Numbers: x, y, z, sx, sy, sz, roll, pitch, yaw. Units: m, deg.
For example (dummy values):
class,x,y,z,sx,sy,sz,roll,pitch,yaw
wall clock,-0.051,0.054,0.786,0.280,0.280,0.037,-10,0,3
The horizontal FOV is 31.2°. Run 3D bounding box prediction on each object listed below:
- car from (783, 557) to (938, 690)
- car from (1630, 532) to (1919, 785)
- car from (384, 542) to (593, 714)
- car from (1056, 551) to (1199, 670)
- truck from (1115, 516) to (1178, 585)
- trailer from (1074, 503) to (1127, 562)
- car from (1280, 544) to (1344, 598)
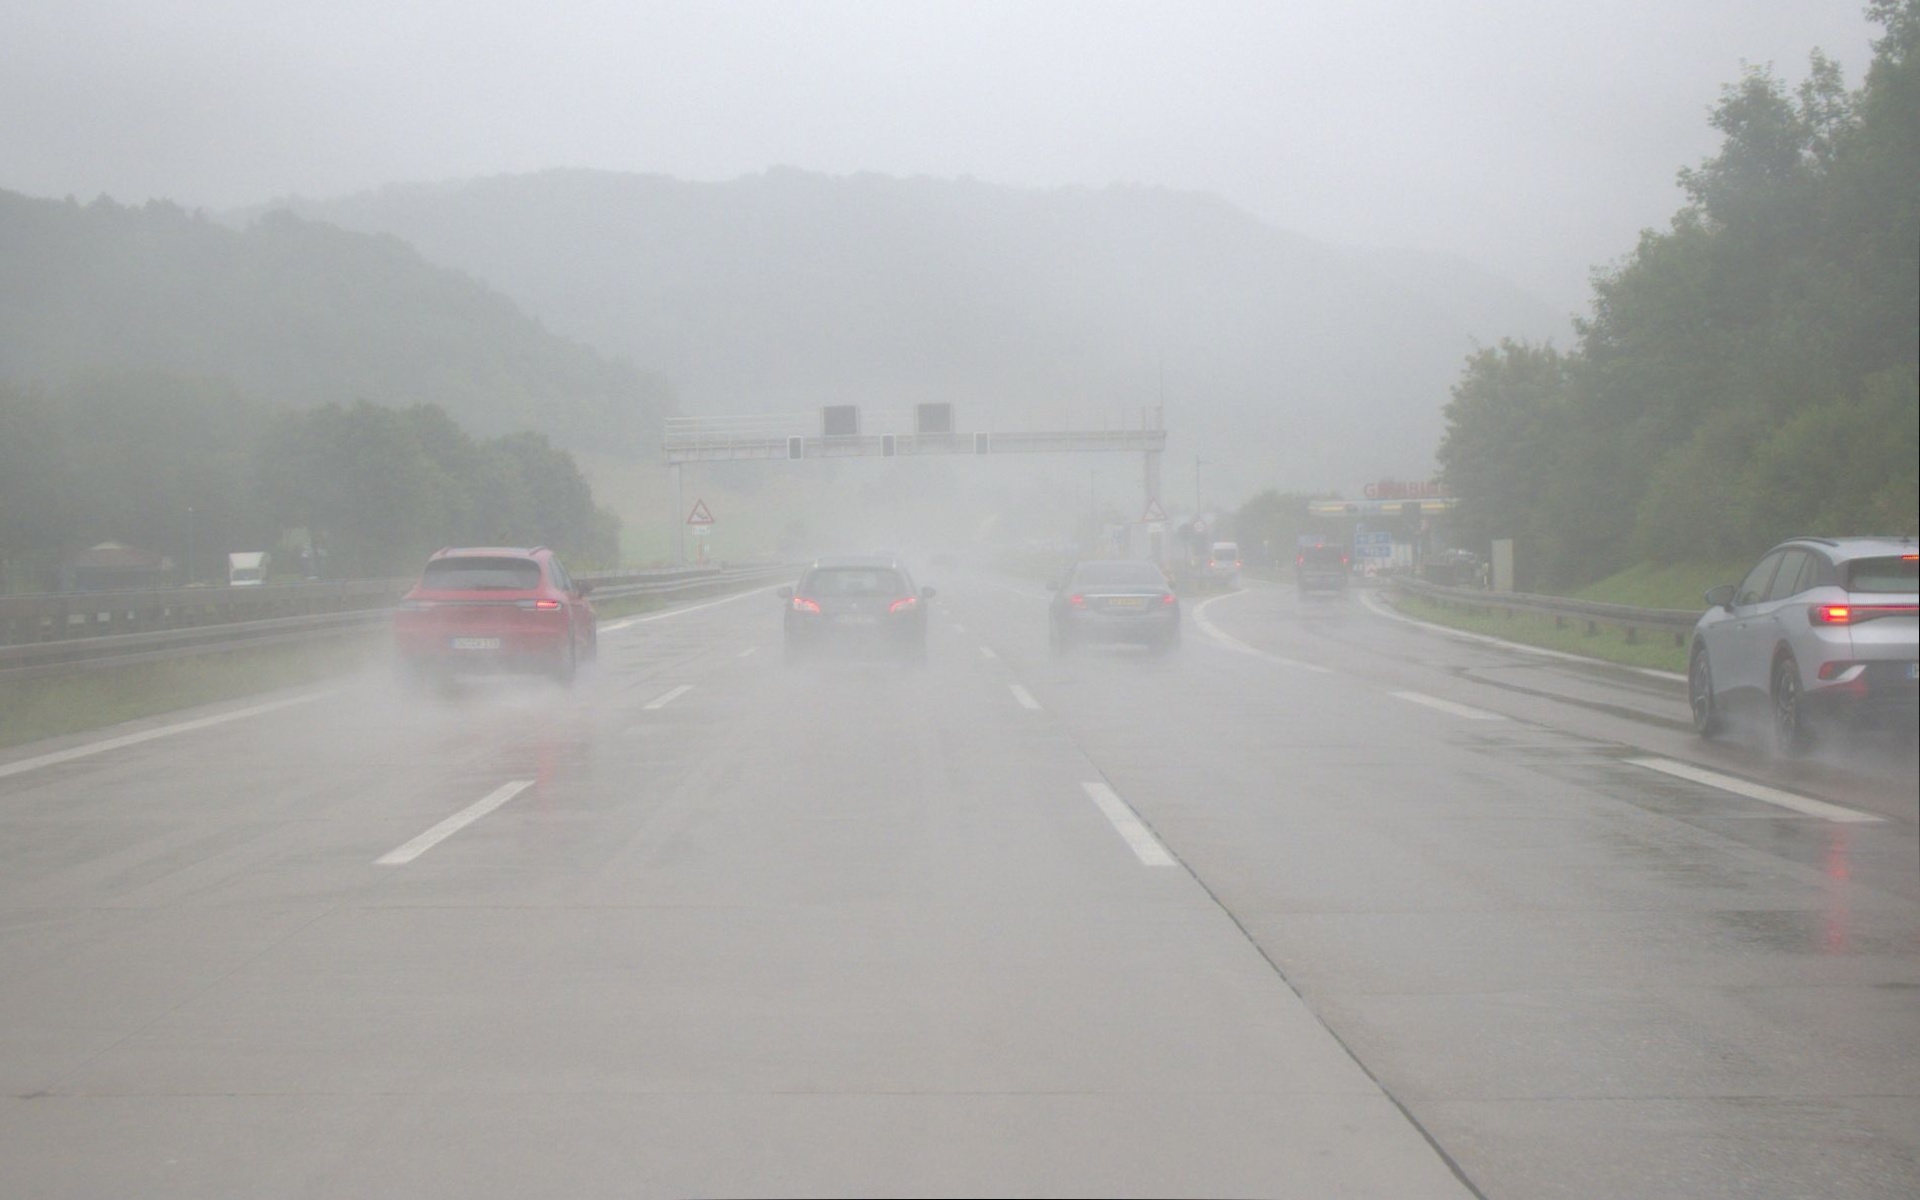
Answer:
class,x,y,z,sx,sy,sz,roll,pitch,yaw
car,-1.224,0.268,43.588,1.859,1.584,4.000,1,0,-1
car,6.793,0.391,26.723,1.993,1.744,5.663,1,0,-1
car,-5.208,0.262,38.441,1.884,1.809,4.000,0,1,-2
car,2.557,0.132,53.334,1.971,1.754,4.000,0,1,-1
truck,12.332,-3.323,228.593,3.401,4.387,11.049,1,1,-1
trailer,10.532,-5.044,258.934,3.516,4.247,11.920,1,0,0
car,13.323,-1.107,129.890,1.994,2.007,5.052,0,1,11
